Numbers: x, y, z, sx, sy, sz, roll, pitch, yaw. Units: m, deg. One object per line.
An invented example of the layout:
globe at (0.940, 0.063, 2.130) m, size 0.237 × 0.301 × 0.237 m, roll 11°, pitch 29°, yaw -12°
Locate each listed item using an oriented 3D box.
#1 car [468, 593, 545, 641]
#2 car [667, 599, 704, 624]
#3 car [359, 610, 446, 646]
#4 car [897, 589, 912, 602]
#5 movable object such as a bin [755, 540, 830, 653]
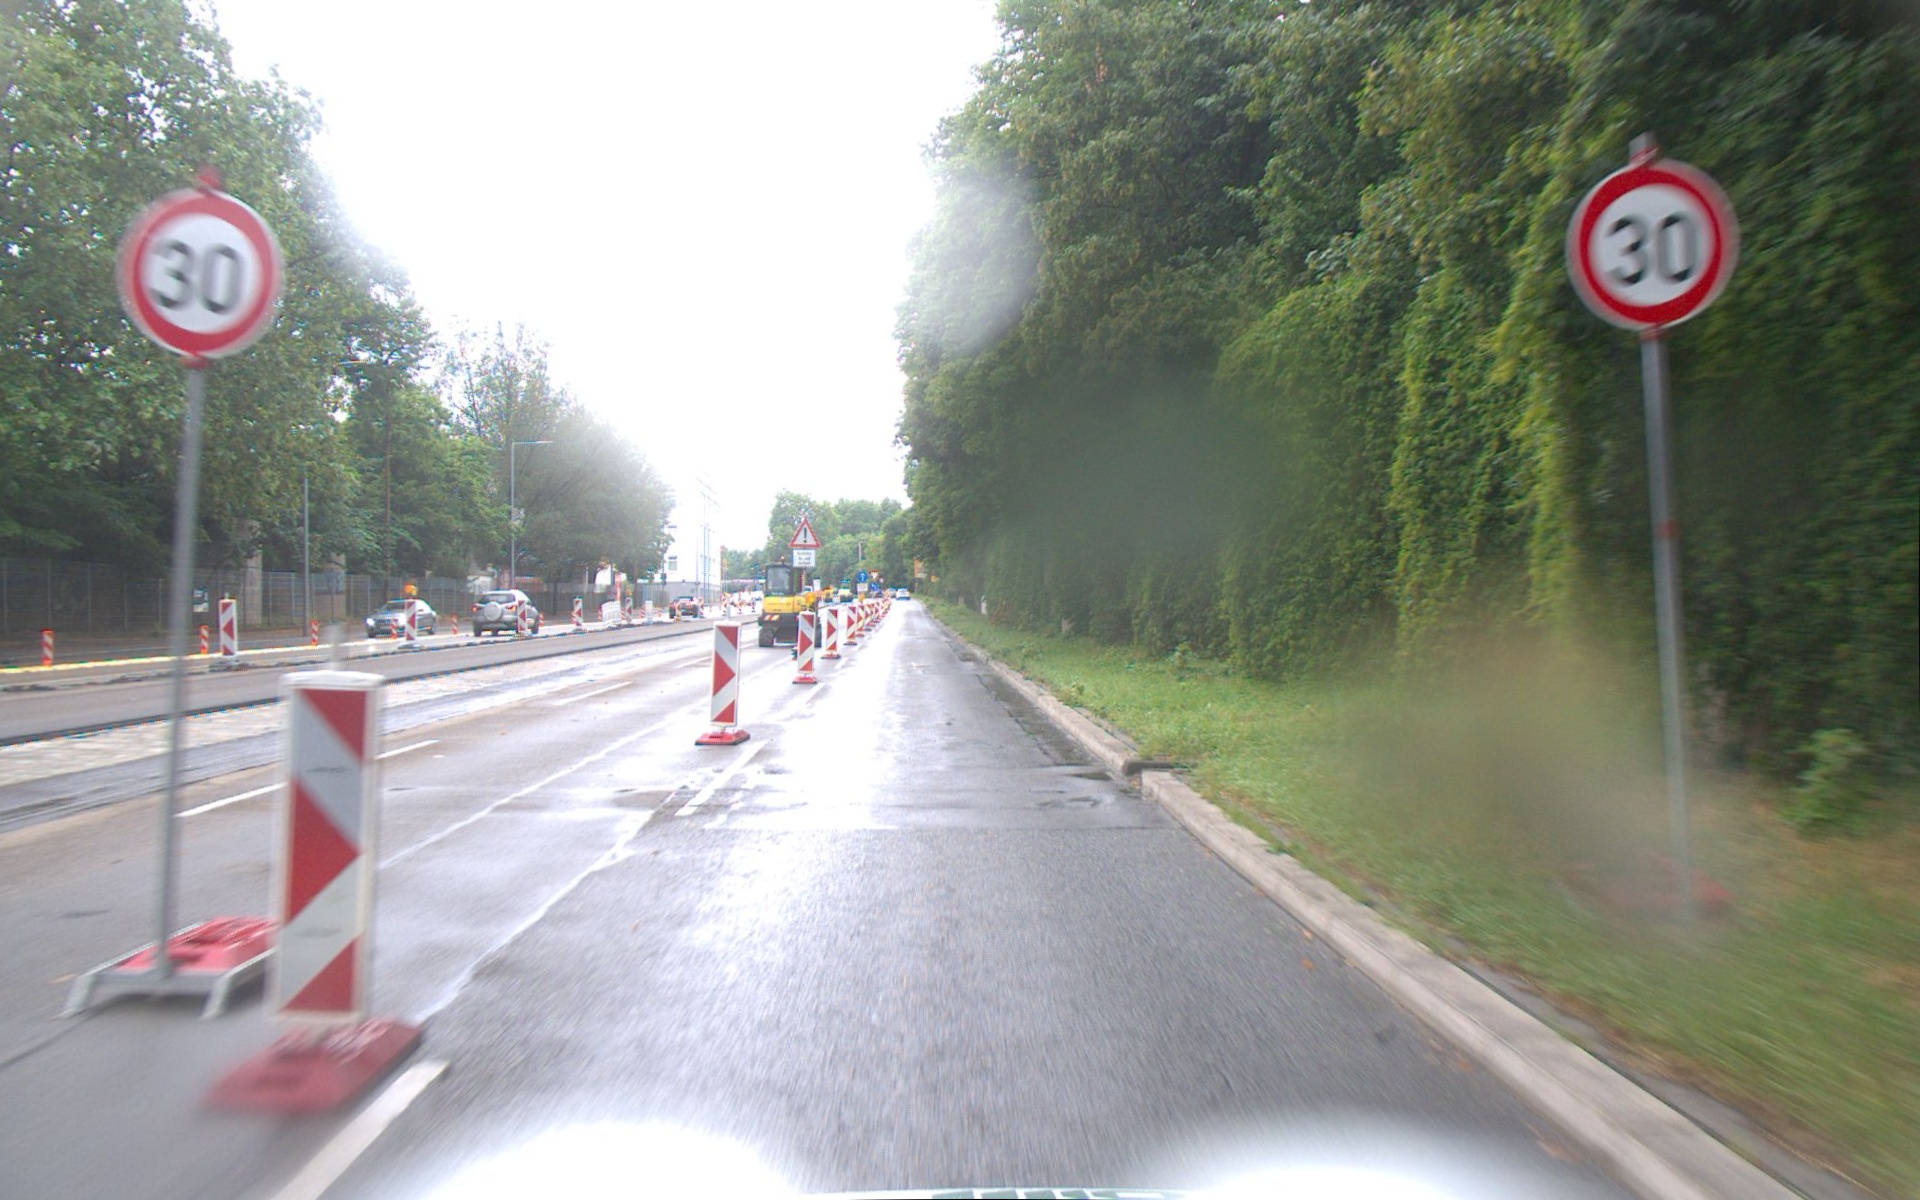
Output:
car at (-16.644, 0.610, 60.870) m, size 1.817 × 1.677 × 3.998 m, roll 1°, pitch 0°, yaw -2°
car at (-18.182, 0.749, 109.677) m, size 1.953 × 1.545 × 3.998 m, roll 1°, pitch 0°, yaw -2°
car at (-22.253, 1.089, 66.217) m, size 1.953 × 1.371 × 4.789 m, roll 1°, pitch 0°, yaw -2°
car at (-7.359, -0.565, 220.858) m, size 1.953 × 1.702 × 3.999 m, roll 1°, pitch 0°, yaw -2°
movable object such as a bin at (-5.352, -0.116, 53.405) m, size 1.953 × 3.426 × 5.980 m, roll 1°, pitch 0°, yaw -2°
